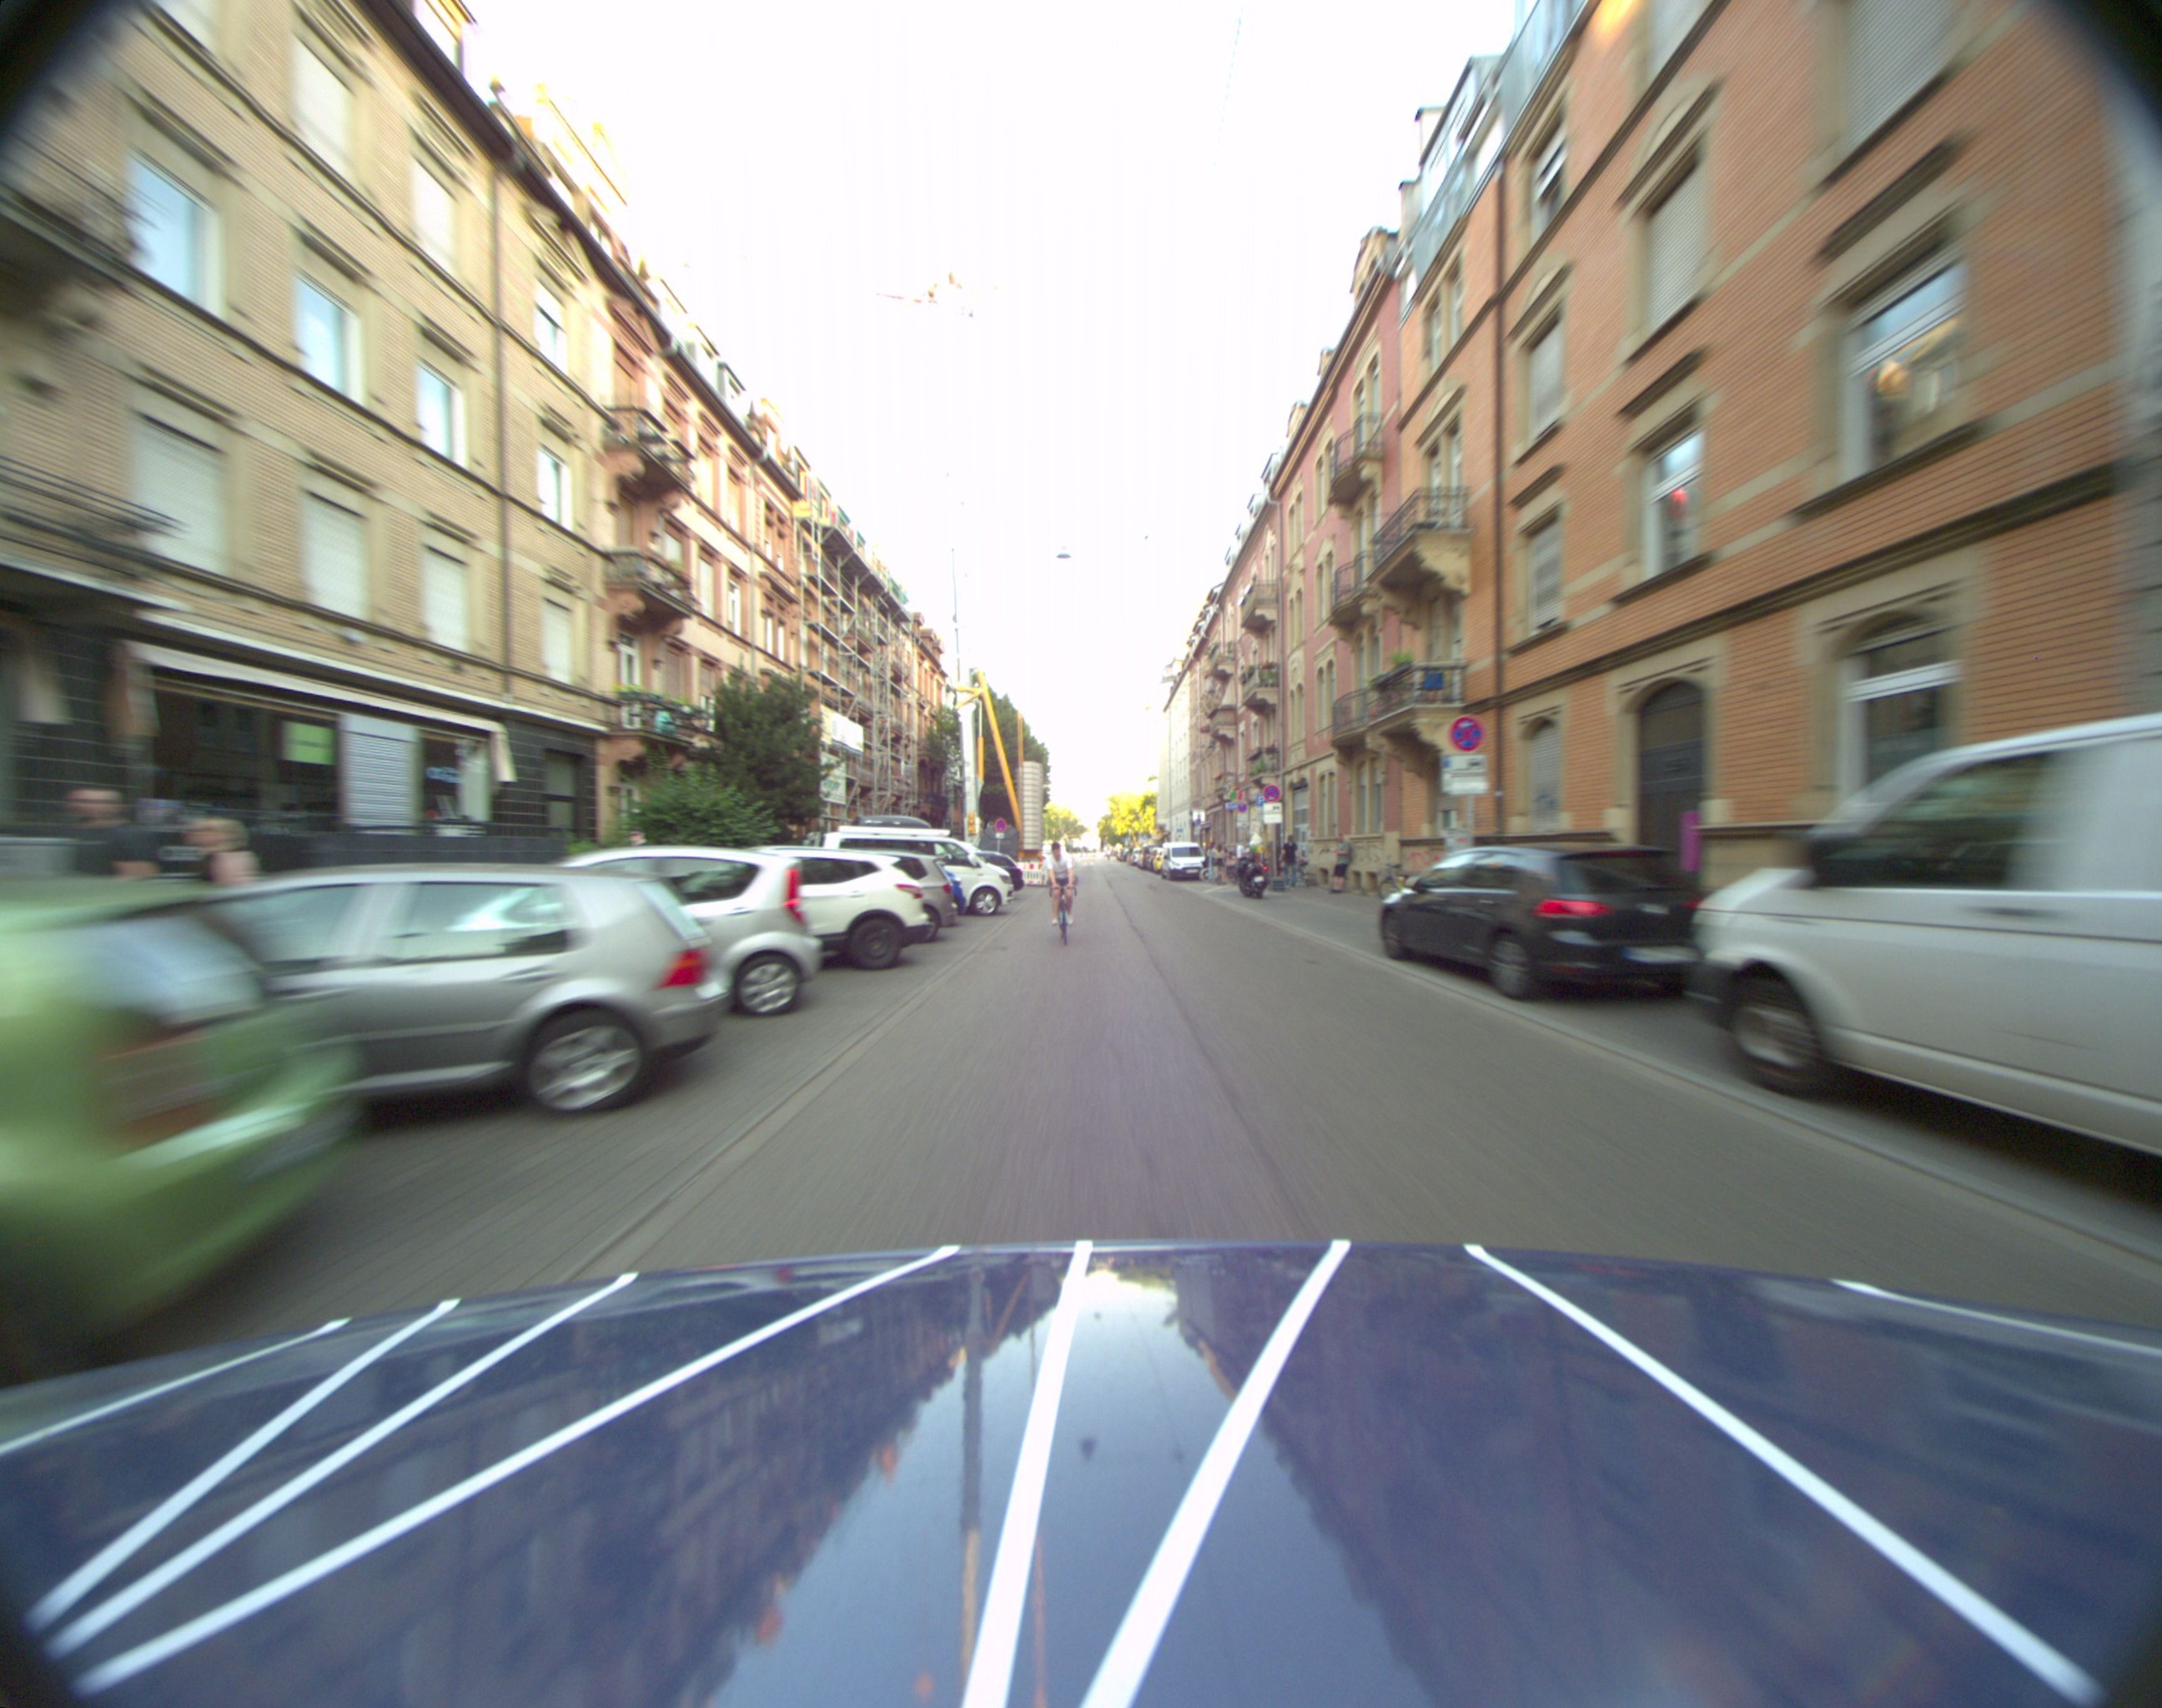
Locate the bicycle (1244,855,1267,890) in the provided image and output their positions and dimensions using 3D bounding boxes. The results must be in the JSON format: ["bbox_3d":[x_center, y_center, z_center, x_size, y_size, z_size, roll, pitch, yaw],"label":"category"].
[{"bbox_3d":[6.108,0.627,26.609,0.412,1.153,1.837,-2,1,2],"label":"bicycle"}]

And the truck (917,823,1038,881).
[{"bbox_3d":[-5.935,-0.136,44.227,6.494,3.059,2.524,-2,1,4],"label":"truck"}]

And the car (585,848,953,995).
[{"bbox_3d":[-3.976,0.783,9.991,4.116,1.581,1.814,2,0,-30],"label":"car"}]

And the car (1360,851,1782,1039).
[{"bbox_3d":[4.745,0.729,8.245,1.842,1.462,4.171,-1,1,-1],"label":"car"}]

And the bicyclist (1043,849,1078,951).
[{"bbox_3d":[-0.351,0.776,13.168,0.528,1.694,0.789,-2,2,-1],"label":"bicyclist"}]

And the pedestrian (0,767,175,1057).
[{"bbox_3d":[-7.407,0.393,5.669,0.626,2.002,0.654,-3,2,-39],"label":"pedestrian"}]

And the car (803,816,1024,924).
[{"bbox_3d":[-4.044,0.339,18.445,4.945,2.349,1.996,0,1,-25],"label":"car"}]

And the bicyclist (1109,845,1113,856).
[{"bbox_3d":[4.651,-0.617,118.356,0.624,1.682,1.003,-2,2,0],"label":"bicyclist"}]

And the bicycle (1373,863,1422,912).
[{"bbox_3d":[7.321,0.753,17.659,0.449,1.024,1.740,-2,1,2],"label":"bicycle"}]

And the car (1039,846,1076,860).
[{"bbox_3d":[-2.643,-0.098,85.966,3.841,1.510,1.673,1,2,-31],"label":"car"}]

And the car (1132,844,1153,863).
[{"bbox_3d":[5.751,-0.080,71.352,1.730,1.638,3.916,-2,1,1],"label":"car"}]

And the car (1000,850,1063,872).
[{"bbox_3d":[-3.402,0.488,52.277,4.003,1.480,1.680,1,0,-33],"label":"car"}]

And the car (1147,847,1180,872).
[{"bbox_3d":[5.560,0.368,51.489,1.932,1.587,3.970,-1,1,3],"label":"car"}]

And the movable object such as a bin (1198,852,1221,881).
[{"bbox_3d":[5.733,0.532,34.002,0.889,1.244,0.776,-2,2,1],"label":"movable object such as a bin"}]

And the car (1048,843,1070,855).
[{"bbox_3d":[-4.498,-1.050,153.975,4.202,2.280,1.673,1,2,-38],"label":"car"}]

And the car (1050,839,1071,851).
[{"bbox_3d":[-4.391,-1.926,162.400,4.201,2.246,1.673,1,2,-34],"label":"car"}]

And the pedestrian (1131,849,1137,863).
[{"bbox_3d":[5.320,0.215,76.235,0.571,1.315,0.496,-2,2,0],"label":"pedestrian"}]

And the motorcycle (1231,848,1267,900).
[{"bbox_3d":[4.871,0.559,22.097,0.686,1.397,2.014,-2,1,4],"label":"motorcycle"}]

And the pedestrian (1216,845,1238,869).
[{"bbox_3d":[7.668,0.152,39.871,1.041,1.196,0.503,-2,2,-1],"label":"pedestrian"}]

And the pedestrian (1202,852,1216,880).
[{"bbox_3d":[5.737,0.531,34.055,0.479,1.244,0.652,-2,2,2],"label":"pedestrian"}]

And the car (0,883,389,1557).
[{"bbox_3d":[-4.572,0.868,1.727,4.116,1.543,1.814,2,0,-30],"label":"car"}]

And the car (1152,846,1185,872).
[{"bbox_3d":[5.357,0.292,46.953,1.709,1.521,3.793,-1,1,3],"label":"car"}]

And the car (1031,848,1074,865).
[{"bbox_3d":[-2.822,0.223,75.239,3.841,1.557,1.673,1,2,-29],"label":"car"}]

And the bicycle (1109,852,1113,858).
[{"bbox_3d":[4.667,0.130,118.625,0.477,0.938,1.895,-2,1,0],"label":"bicycle"}]

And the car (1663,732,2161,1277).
[{"bbox_3d":[4.698,0.514,2.590,1.841,1.910,4.845,-1,1,2],"label":"car"}]

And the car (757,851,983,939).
[{"bbox_3d":[-4.304,0.740,15.583,4.173,1.581,1.881,0,0,-27],"label":"car"}]

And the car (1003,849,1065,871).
[{"bbox_3d":[-3.389,0.445,55.262,4.179,1.480,1.826,1,0,-35],"label":"car"}]

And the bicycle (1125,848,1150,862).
[{"bbox_3d":[6.077,0.108,81.792,2.619,1.391,0.602,-2,2,14],"label":"bicycle"}]

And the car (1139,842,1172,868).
[{"bbox_3d":[5.508,0.040,56.787,1.932,1.872,4.904,-1,1,0],"label":"car"}]

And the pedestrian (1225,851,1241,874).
[{"bbox_3d":[7.687,0.423,38.435,0.633,1.133,0.573,-2,2,-1],"label":"pedestrian"}]

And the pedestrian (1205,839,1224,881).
[{"bbox_3d":[5.849,0.238,33.318,0.600,1.804,0.720,-2,2,-8],"label":"pedestrian"}]

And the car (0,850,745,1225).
[{"bbox_3d":[-4.314,0.811,4.402,4.116,1.543,1.814,2,0,-30],"label":"car"}]

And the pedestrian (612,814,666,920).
[{"bbox_3d":[-7.559,0.210,13.014,0.687,1.740,0.825,1,2,-23],"label":"pedestrian"}]

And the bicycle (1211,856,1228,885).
[{"bbox_3d":[5.497,0.644,30.176,0.466,1.062,1.520,-2,1,4],"label":"bicycle"}]

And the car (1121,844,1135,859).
[{"bbox_3d":[6.293,-0.365,102.261,1.785,1.860,4.457,-2,1,3],"label":"car"}]

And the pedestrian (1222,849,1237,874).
[{"bbox_3d":[7.674,0.388,39.286,0.620,1.244,0.585,-2,2,-1],"label":"pedestrian"}]

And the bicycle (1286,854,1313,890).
[{"bbox_3d":[7.520,0.586,26.221,0.412,1.153,1.837,-2,1,2],"label":"bicycle"}]

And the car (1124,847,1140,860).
[{"bbox_3d":[6.509,-0.113,97.281,1.785,1.538,4.000,-2,1,3],"label":"car"}]

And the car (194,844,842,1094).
[{"bbox_3d":[-4.509,0.781,6.791,4.117,1.581,1.813,2,0,-37],"label":"car"}]

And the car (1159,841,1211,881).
[{"bbox_3d":[4.969,0.267,36.808,1.775,1.779,4.586,-2,1,-1],"label":"car"}]

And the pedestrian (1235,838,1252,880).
[{"bbox_3d":[7.090,0.197,33.189,0.598,1.804,0.721,-1,2,19],"label":"pedestrian"}]

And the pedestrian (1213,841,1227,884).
[{"bbox_3d":[5.634,0.334,30.845,0.419,1.699,0.350,-2,2,-4],"label":"pedestrian"}]

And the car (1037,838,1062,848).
[{"bbox_3d":[-5.300,-1.897,127.732,3.841,1.510,1.673,1,2,-27],"label":"car"}]

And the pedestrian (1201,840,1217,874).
[{"bbox_3d":[6.529,0.151,38.733,0.619,1.720,0.586,-1,2,29],"label":"pedestrian"}]

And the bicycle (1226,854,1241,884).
[{"bbox_3d":[6.186,0.587,30.875,0.466,1.148,2.001,-2,1,8],"label":"bicycle"}]

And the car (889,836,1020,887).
[{"bbox_3d":[-5.259,0.330,32.075,5.186,1.944,1.899,2,0,0],"label":"car"}]

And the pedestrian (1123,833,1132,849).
[{"bbox_3d":[7.764,-2.206,127.588,1.445,2.725,1.012,-2,2,0],"label":"pedestrian"}]

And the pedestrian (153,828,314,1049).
[{"bbox_3d":[-6.868,0.641,6.199,0.626,1.671,0.654,-3,2,-30],"label":"pedestrian"}]

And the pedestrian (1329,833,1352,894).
[{"bbox_3d":[7.652,0.275,22.430,0.464,1.779,0.642,-2,2,5],"label":"pedestrian"}]

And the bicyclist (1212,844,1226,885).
[{"bbox_3d":[5.503,0.410,30.358,0.466,1.581,0.487,-2,2,4],"label":"bicyclist"}]

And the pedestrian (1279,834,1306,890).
[{"bbox_3d":[7.090,0.256,25.484,0.683,1.800,0.961,-2,2,7],"label":"pedestrian"}]

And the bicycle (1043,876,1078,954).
[{"bbox_3d":[-0.347,1.010,13.105,0.520,1.148,1.782,-2,1,-1],"label":"bicycle"}]

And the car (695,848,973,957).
[{"bbox_3d":[-4.155,0.765,12.915,4.174,1.581,1.881,2,-1,-30],"label":"car"}]

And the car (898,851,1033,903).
[{"bbox_3d":[-3.651,0.674,24.001,3.872,1.507,1.844,0,0,-25],"label":"car"}]
